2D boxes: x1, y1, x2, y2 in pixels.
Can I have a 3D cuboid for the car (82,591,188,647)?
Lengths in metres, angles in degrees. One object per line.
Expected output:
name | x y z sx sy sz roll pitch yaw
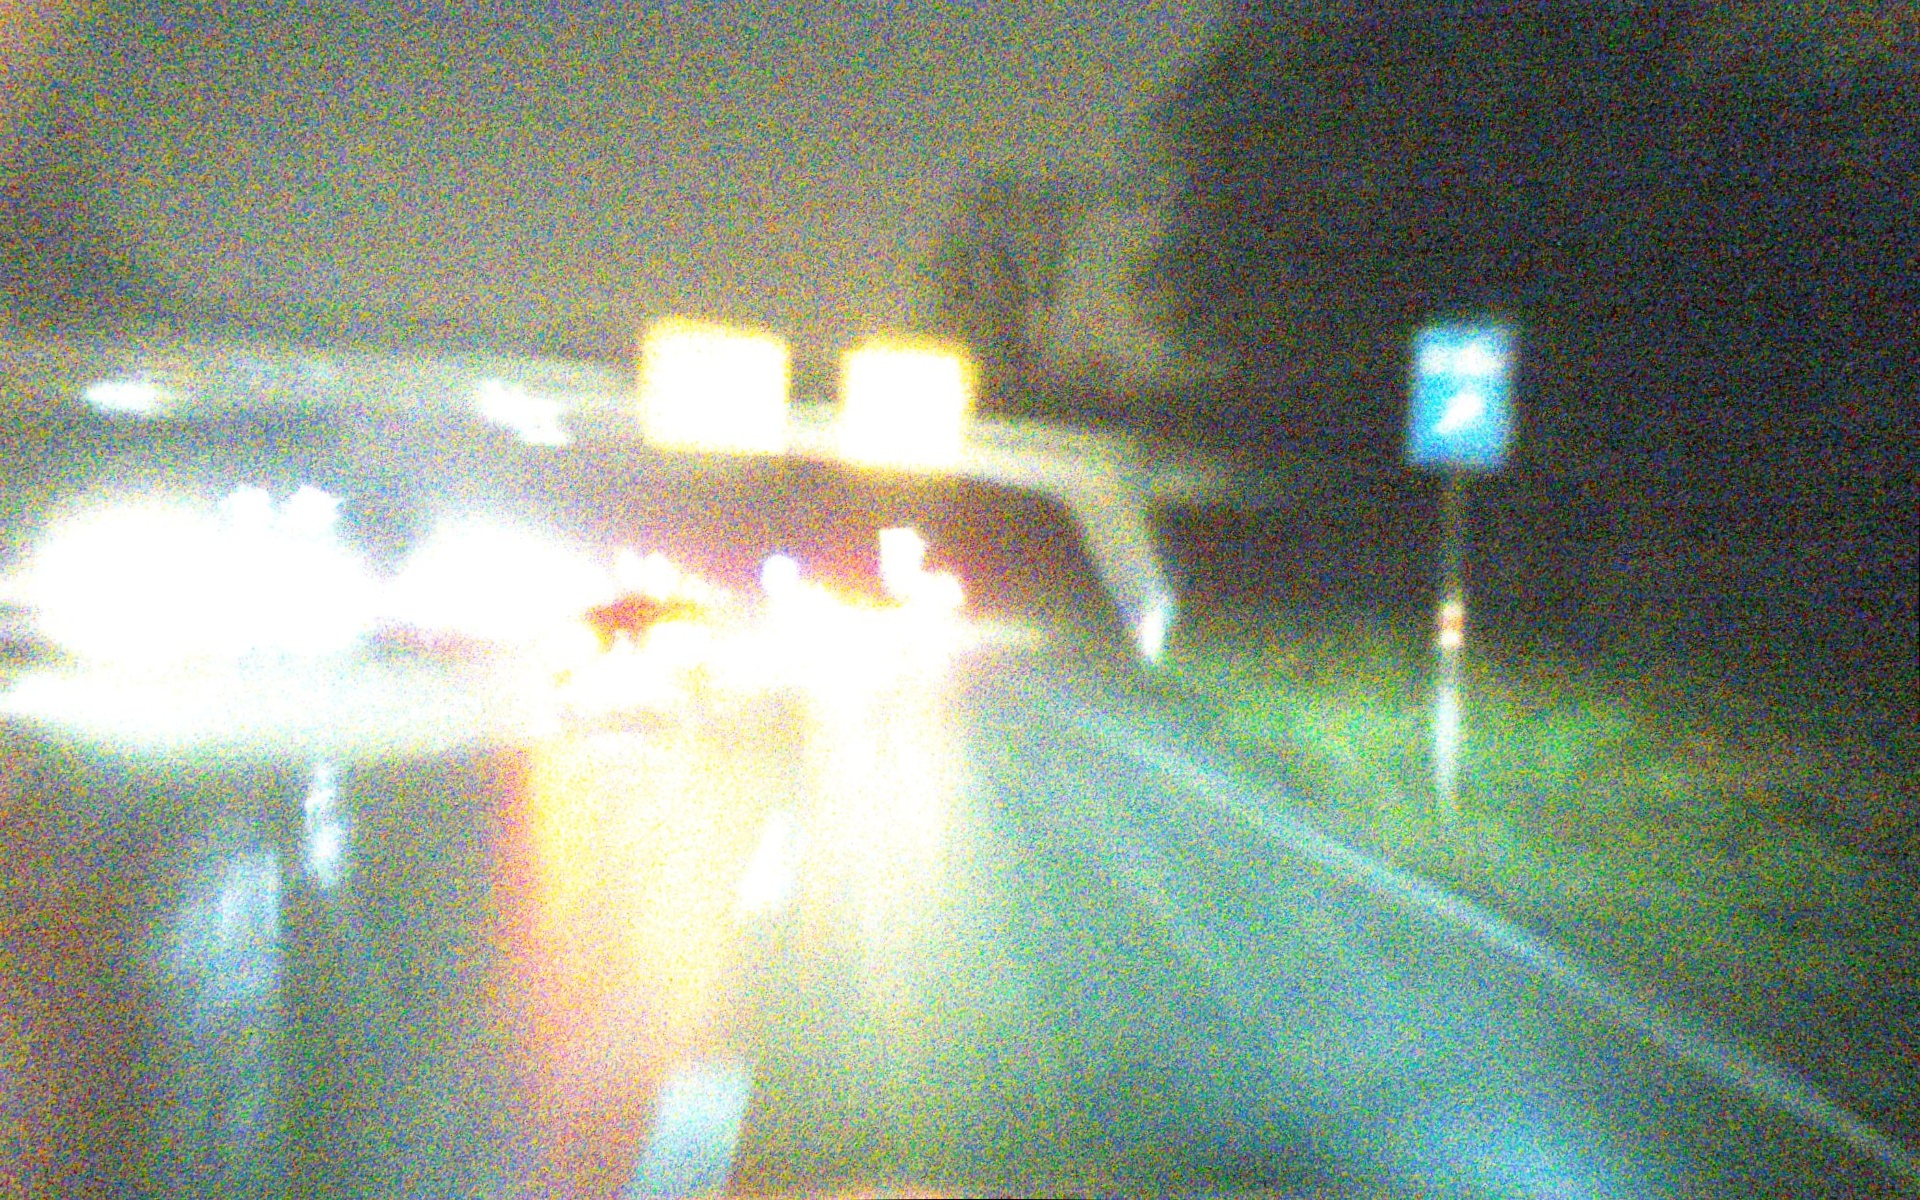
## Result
car | -27.650 0.644 55.589 1.956 1.758 3.992 2 -1 -8

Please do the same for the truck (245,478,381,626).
truck | -21.076 -1.453 54.220 2.515 4.481 5.842 2 -1 -6

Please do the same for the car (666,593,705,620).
car | -16.726 0.387 100.942 1.857 1.572 3.997 2 -1 -3

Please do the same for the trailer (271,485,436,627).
trailer | -21.769 -1.349 60.269 2.526 4.535 12.475 2 -1 -6

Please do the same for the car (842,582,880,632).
car | -4.224 0.308 71.115 1.522 2.049 3.998 2 0 -2

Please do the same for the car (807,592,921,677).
car | -1.722 0.643 30.877 1.922 1.405 4.047 2 -1 -1

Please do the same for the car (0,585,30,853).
car | -6.299 0.648 7.271 1.732 1.543 4.912 2 0 -2

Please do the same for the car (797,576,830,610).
car | -9.372 -0.448 106.206 1.954 2.049 3.997 2 -1 -3
